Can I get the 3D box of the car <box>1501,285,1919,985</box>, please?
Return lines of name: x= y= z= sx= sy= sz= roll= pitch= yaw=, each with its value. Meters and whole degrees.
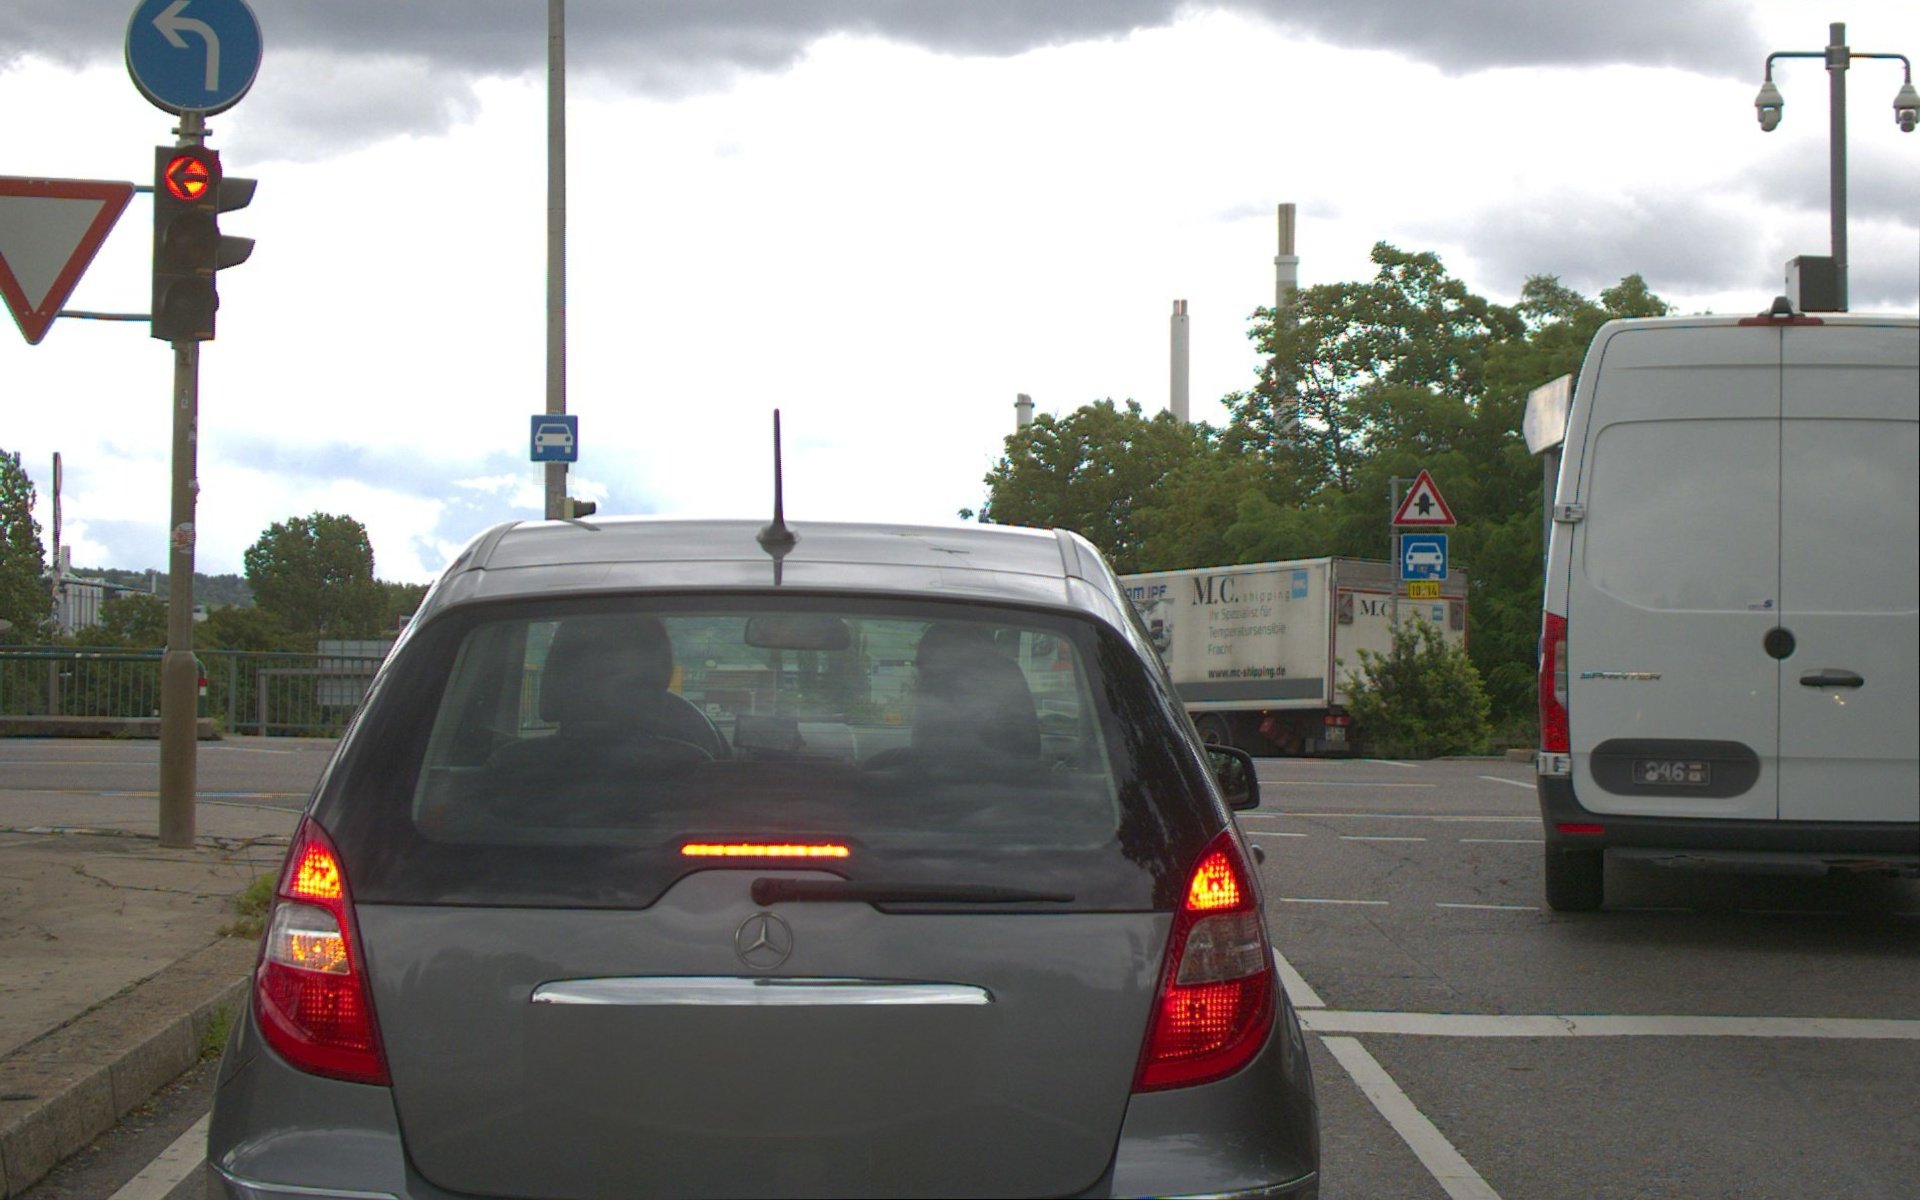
car: x=3.770 y=0.058 z=17.053 sx=2.111 sy=2.774 sz=6.777 roll=0 pitch=1 yaw=9

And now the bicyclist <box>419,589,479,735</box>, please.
bicyclist: x=-5.960 y=0.714 z=40.070 sx=0.653 sy=1.668 sz=0.870 roll=0 pitch=1 yaw=-11

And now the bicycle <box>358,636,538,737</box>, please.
bicycle: x=-5.972 y=0.999 z=40.062 sx=2.032 sy=1.121 sz=0.929 roll=0 pitch=1 yaw=-11

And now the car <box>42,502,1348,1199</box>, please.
car: x=-0.327 y=0.600 z=6.892 sx=1.858 sy=1.582 sz=4.000 roll=0 pitch=2 yaw=2

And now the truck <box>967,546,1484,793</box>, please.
truck: x=3.978 y=0.932 z=55.040 sx=2.789 sy=3.506 sz=10.248 roll=-1 pitch=2 yaw=-31
